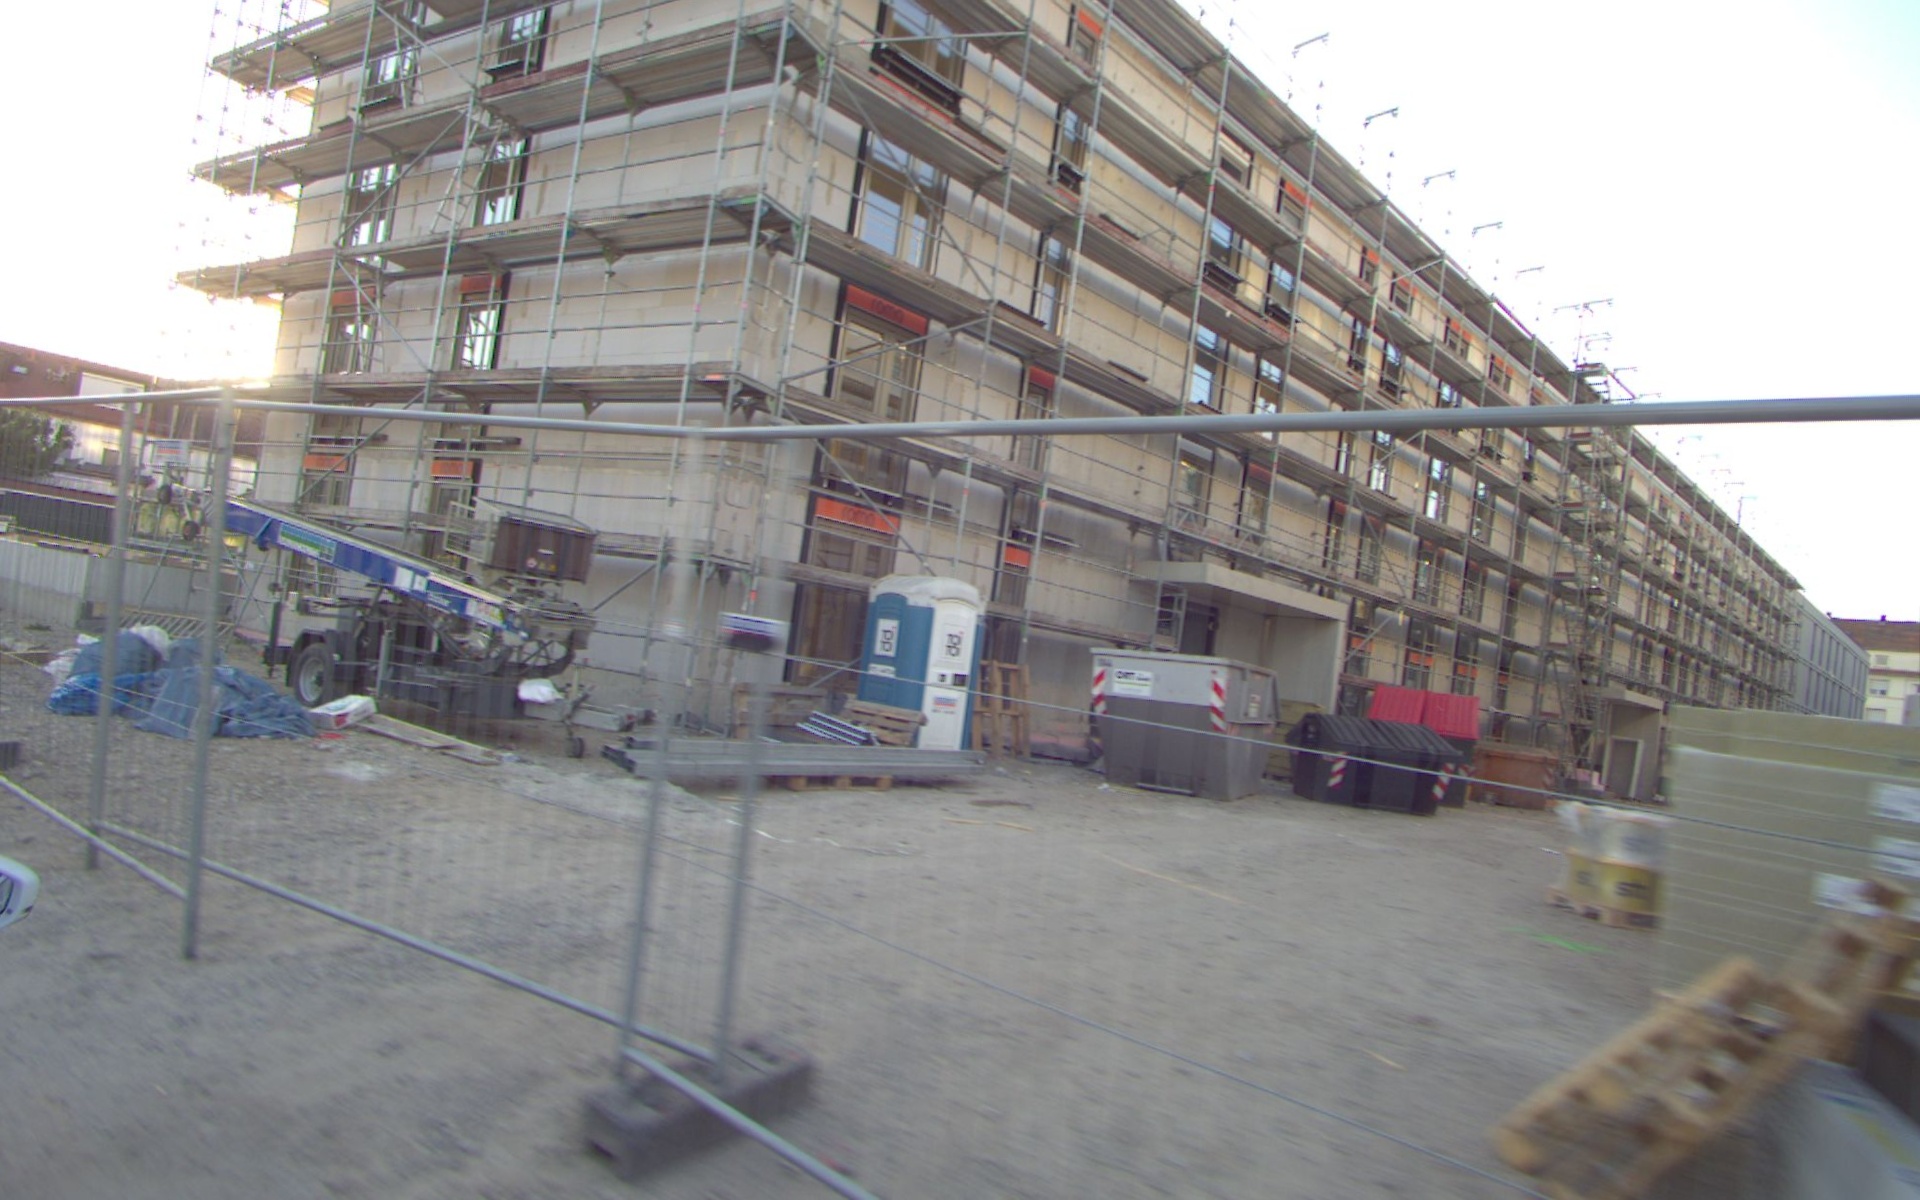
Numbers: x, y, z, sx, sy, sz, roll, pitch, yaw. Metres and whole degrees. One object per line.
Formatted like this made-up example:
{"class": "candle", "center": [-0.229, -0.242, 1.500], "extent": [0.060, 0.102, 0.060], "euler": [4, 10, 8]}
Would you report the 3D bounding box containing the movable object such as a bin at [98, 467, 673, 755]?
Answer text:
{"class": "movable object such as a bin", "center": [-7.010, -0.102, 11.581], "extent": [8.233, 2.300, 2.068], "euler": [6, -2, 33]}
